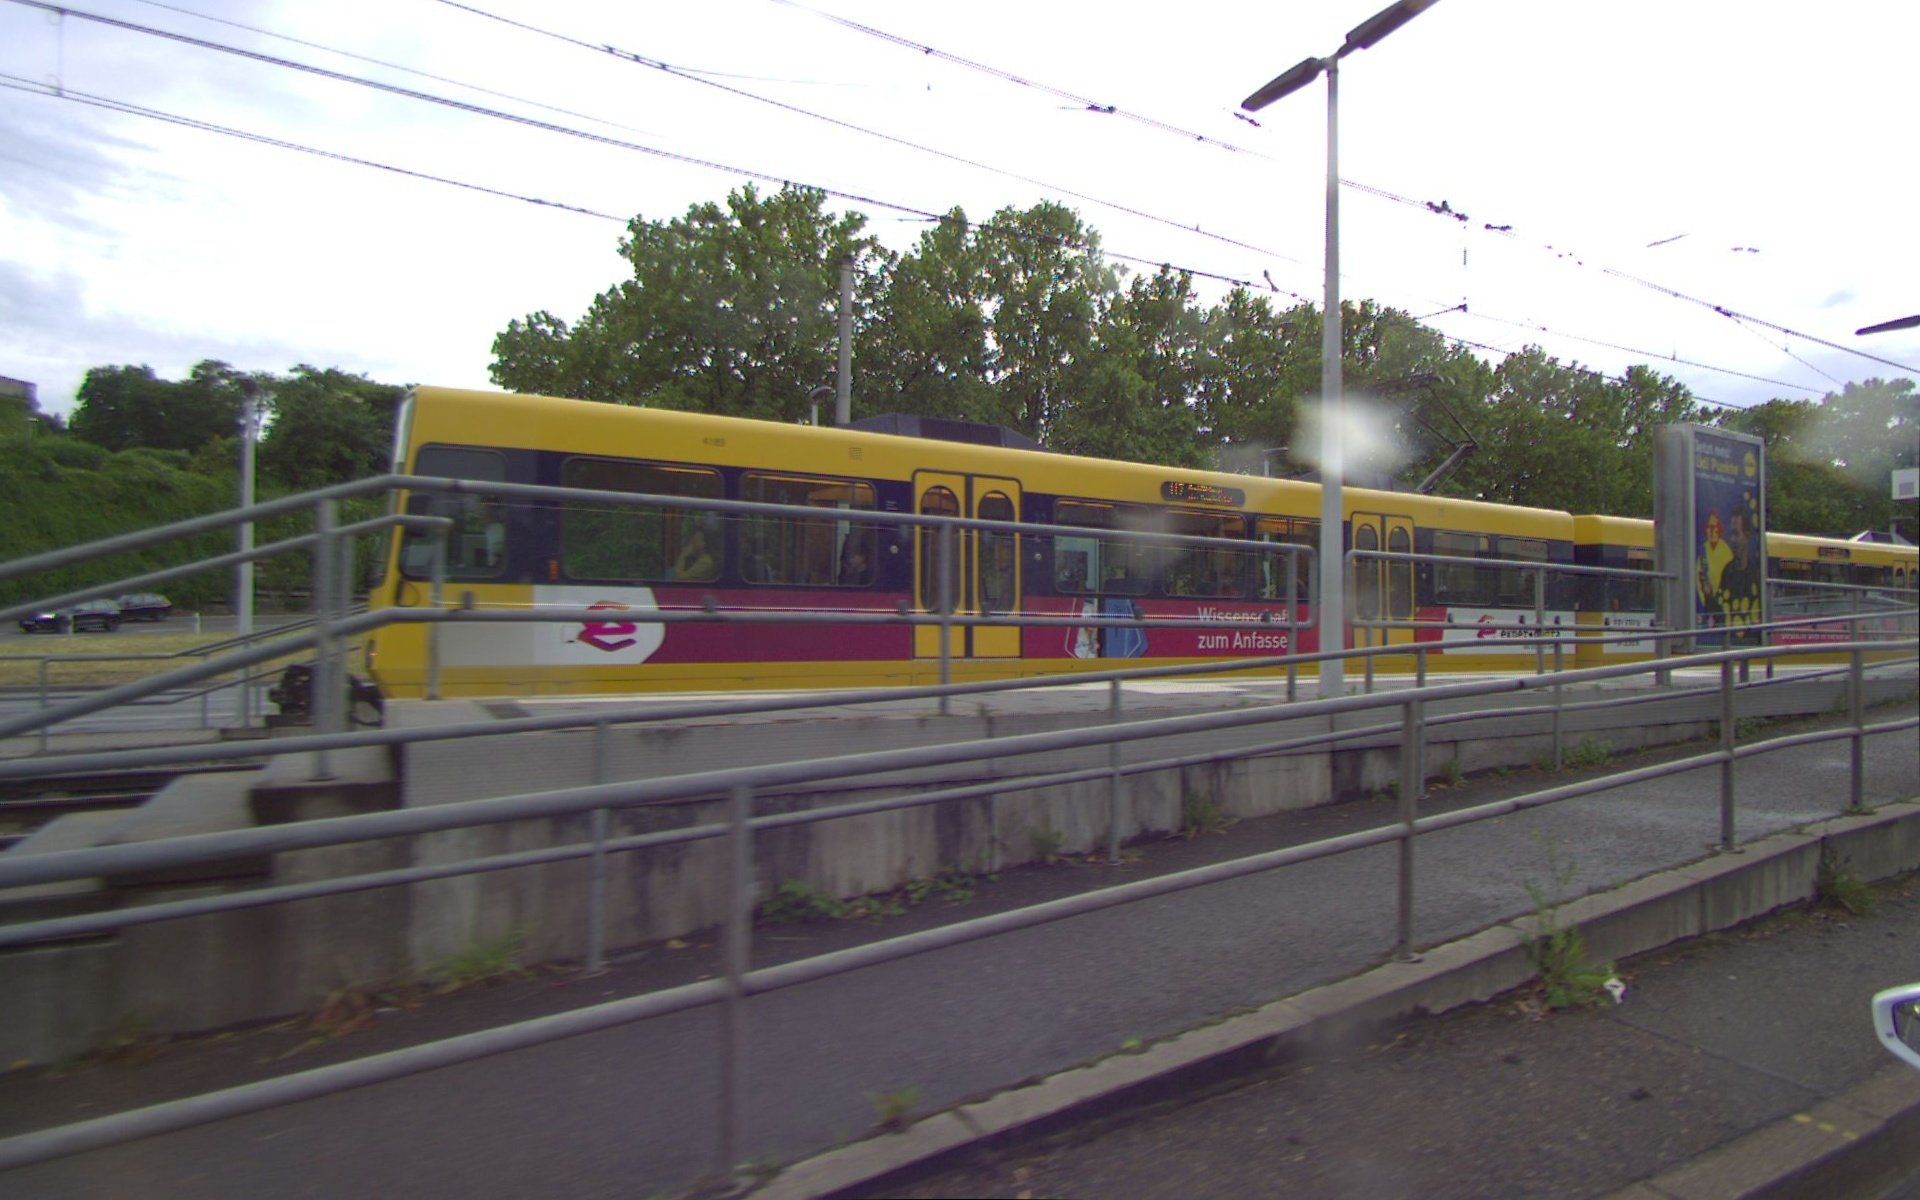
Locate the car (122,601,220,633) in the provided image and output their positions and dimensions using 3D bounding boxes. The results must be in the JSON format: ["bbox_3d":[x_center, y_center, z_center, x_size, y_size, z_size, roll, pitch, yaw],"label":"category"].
[{"bbox_3d":[-41.263,0.885,52.622,3.854,1.595,1.877,1,-1,-34],"label":"car"}]

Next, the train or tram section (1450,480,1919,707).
[{"bbox_3d":[19.058,0.188,23.520,19.088,4.007,2.856,2,0,-28],"label":"train or tram section"}]

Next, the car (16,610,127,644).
[{"bbox_3d":[-42.332,1.286,47.977,3.862,1.595,1.873,1,-2,-40],"label":"car"}]

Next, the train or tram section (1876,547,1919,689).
[{"bbox_3d":[36.077,0.850,32.104,19.068,4.023,2.859,2,0,-25],"label":"train or tram section"}]

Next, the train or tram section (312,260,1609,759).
[{"bbox_3d":[2.398,-0.438,14.151,19.103,4.026,2.854,2,0,-30],"label":"train or tram section"}]
